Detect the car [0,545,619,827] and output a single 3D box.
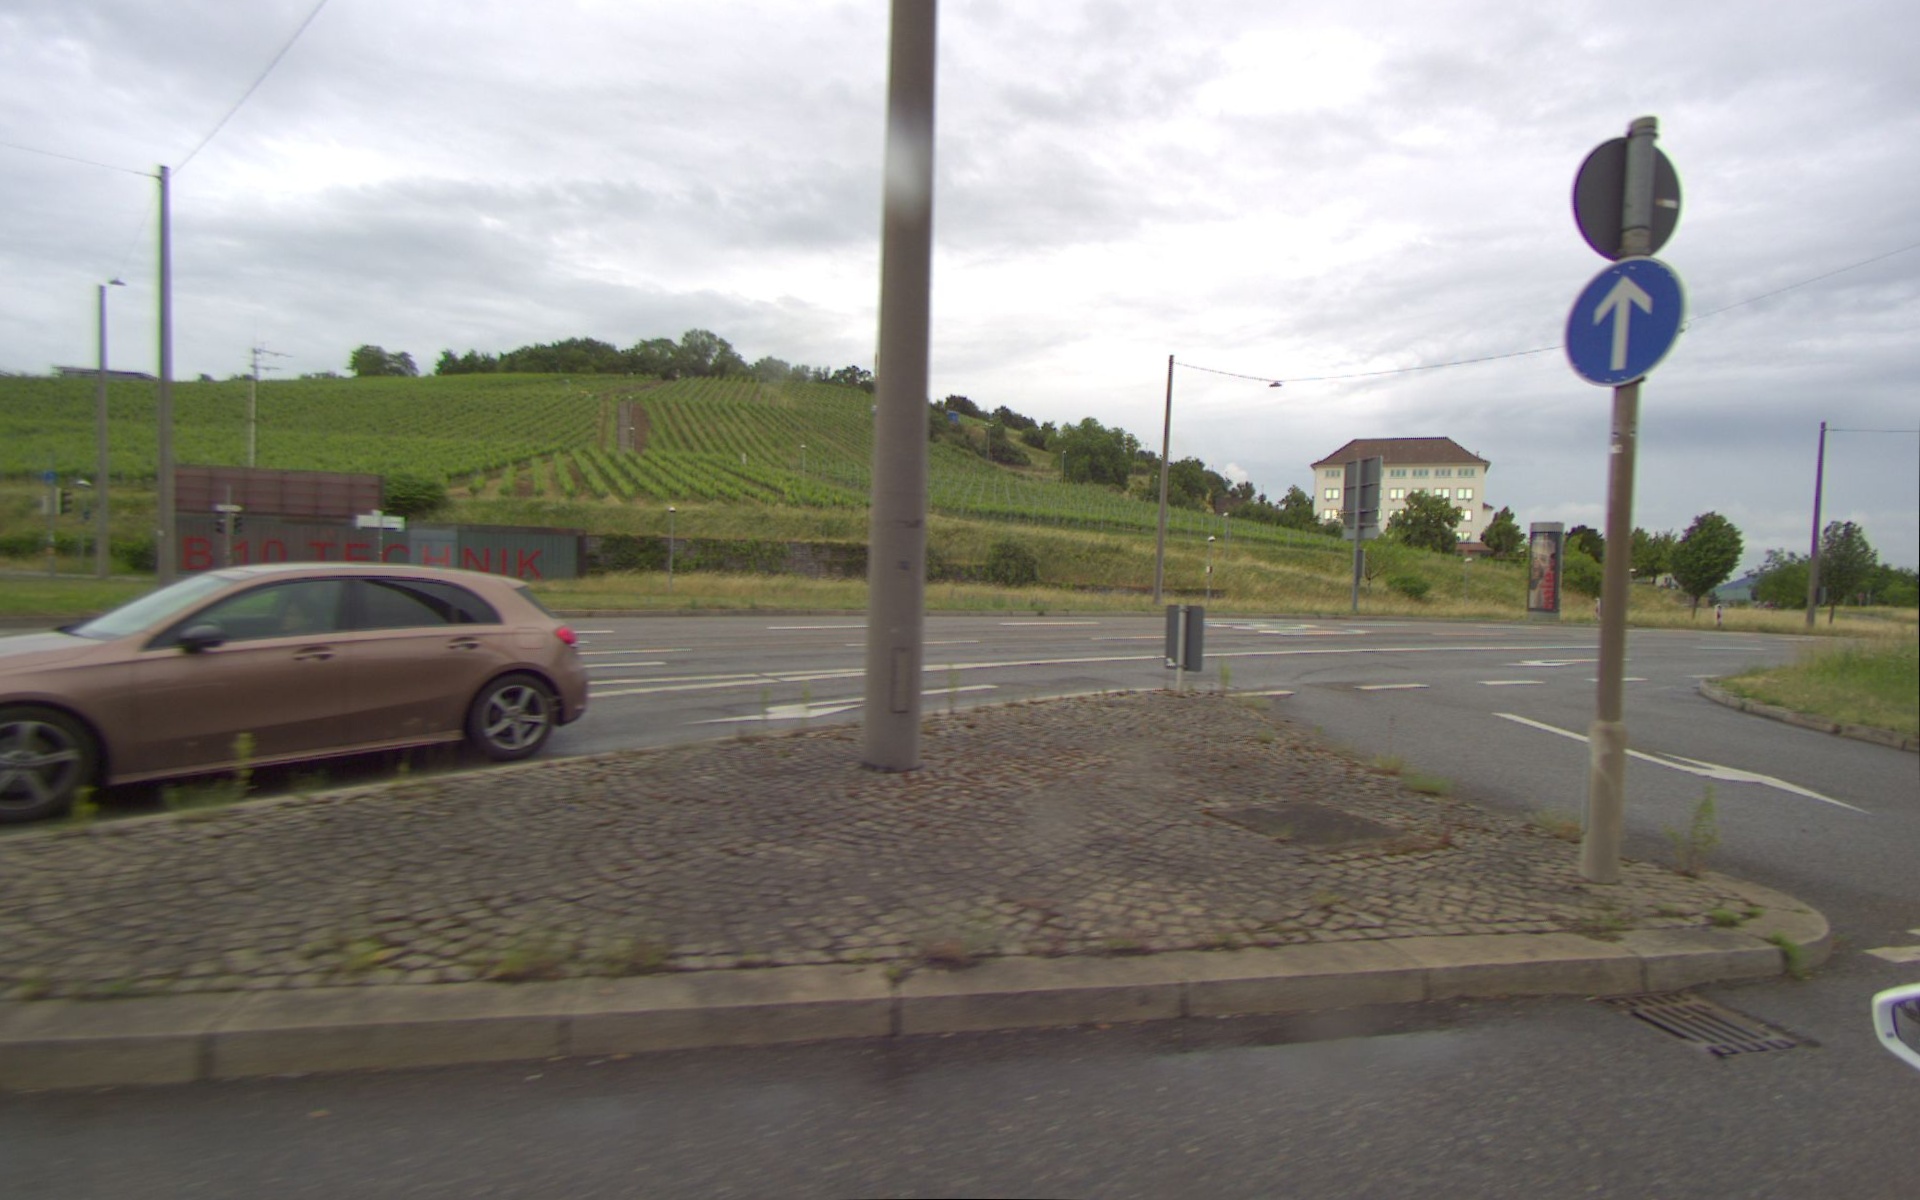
[{"bbox_3d":[-4.791,0.424,6.956,1.713,1.481,4.318,4,3,41],"label":"car"}]
